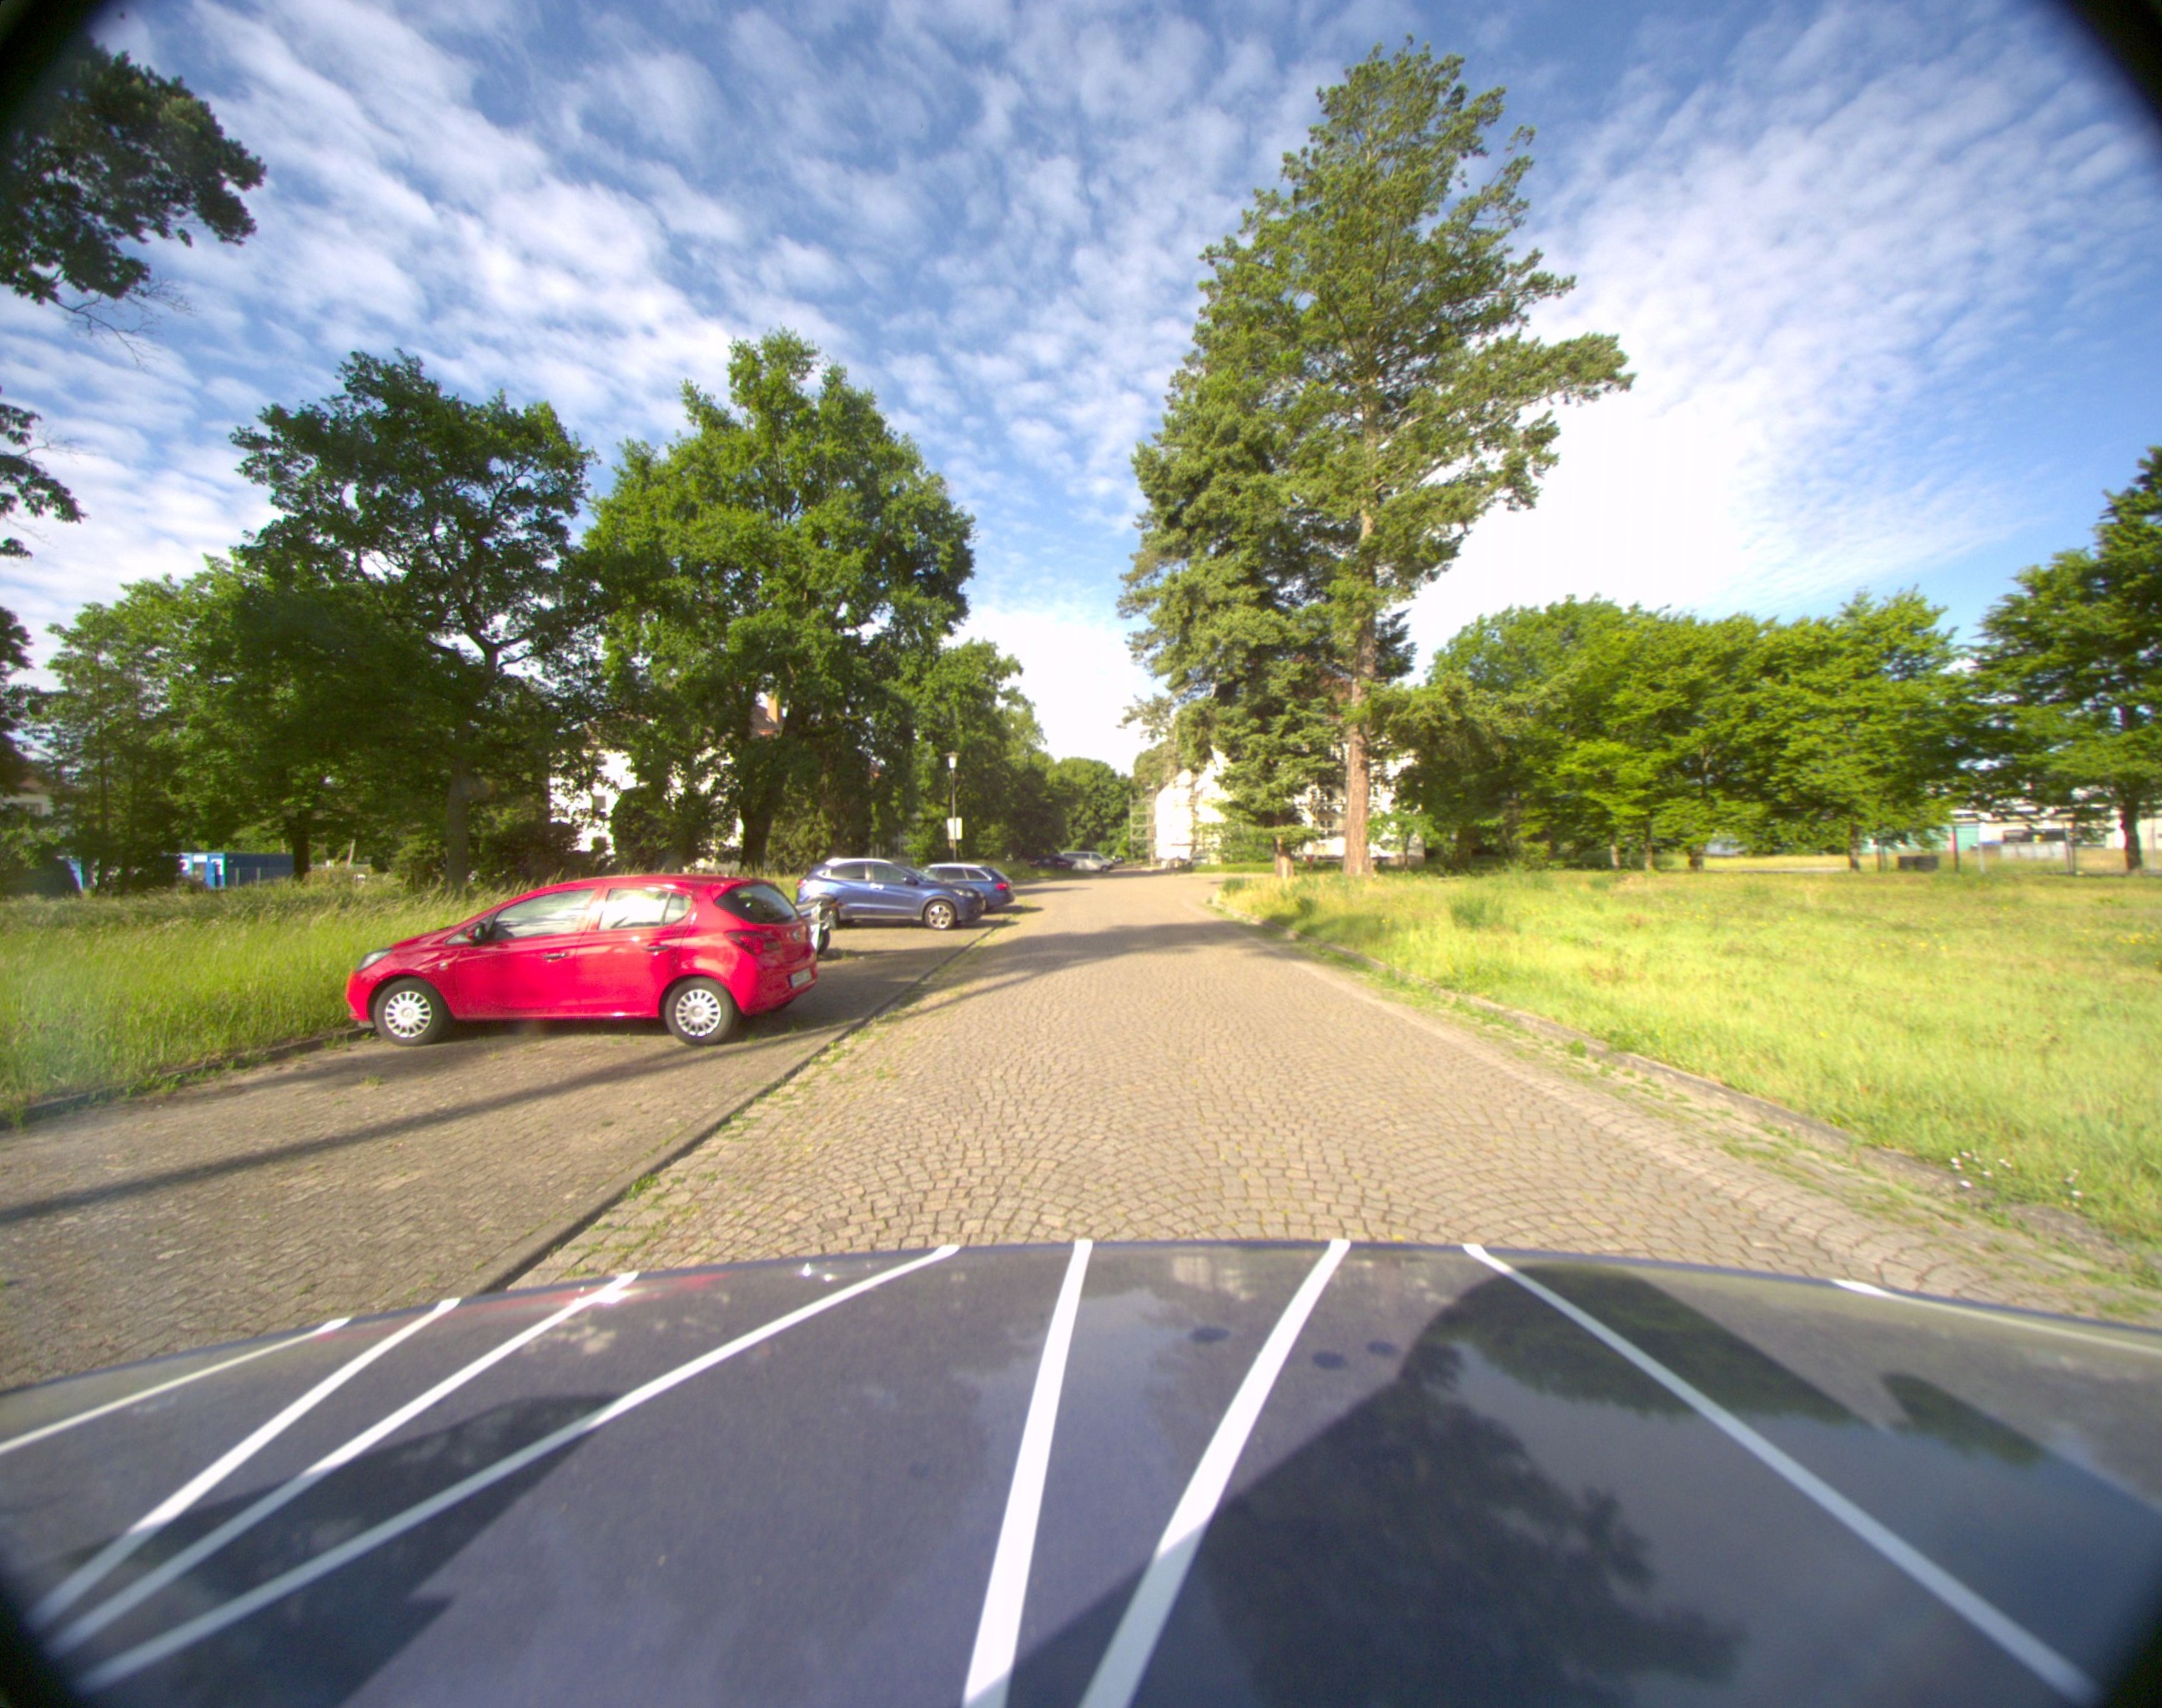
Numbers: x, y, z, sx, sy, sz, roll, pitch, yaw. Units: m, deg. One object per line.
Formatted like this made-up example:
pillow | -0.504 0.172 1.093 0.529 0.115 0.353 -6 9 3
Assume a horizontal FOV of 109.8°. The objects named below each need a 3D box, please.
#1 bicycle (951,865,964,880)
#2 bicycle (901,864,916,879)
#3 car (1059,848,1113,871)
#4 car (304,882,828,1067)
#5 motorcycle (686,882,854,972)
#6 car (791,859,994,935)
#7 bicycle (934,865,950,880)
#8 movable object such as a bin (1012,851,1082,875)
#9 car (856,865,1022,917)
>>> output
bicycle | -8.344 1.256 51.296 0.747 0.929 1.140 -1 0 -2
bicycle | -12.661 1.273 55.750 0.712 1.010 1.024 -2 1 -36
car | 0.475 0.521 70.948 4.936 2.002 2.000 -1 0 1
car | -4.613 1.048 7.233 3.837 1.470 1.645 0 0 0
motorcycle | -4.785 1.112 11.792 2.305 1.312 0.726 0 1 1
car | -4.234 0.948 17.531 4.187 1.581 1.751 -1 0 1
bicycle | -9.312 1.234 50.905 0.710 1.010 1.257 -1 0 8
movable object such as a bin | -2.613 0.671 58.070 4.931 1.749 2.002 -1 0 16
car | -4.084 1.042 22.247 4.459 1.399 1.714 0 0 4
